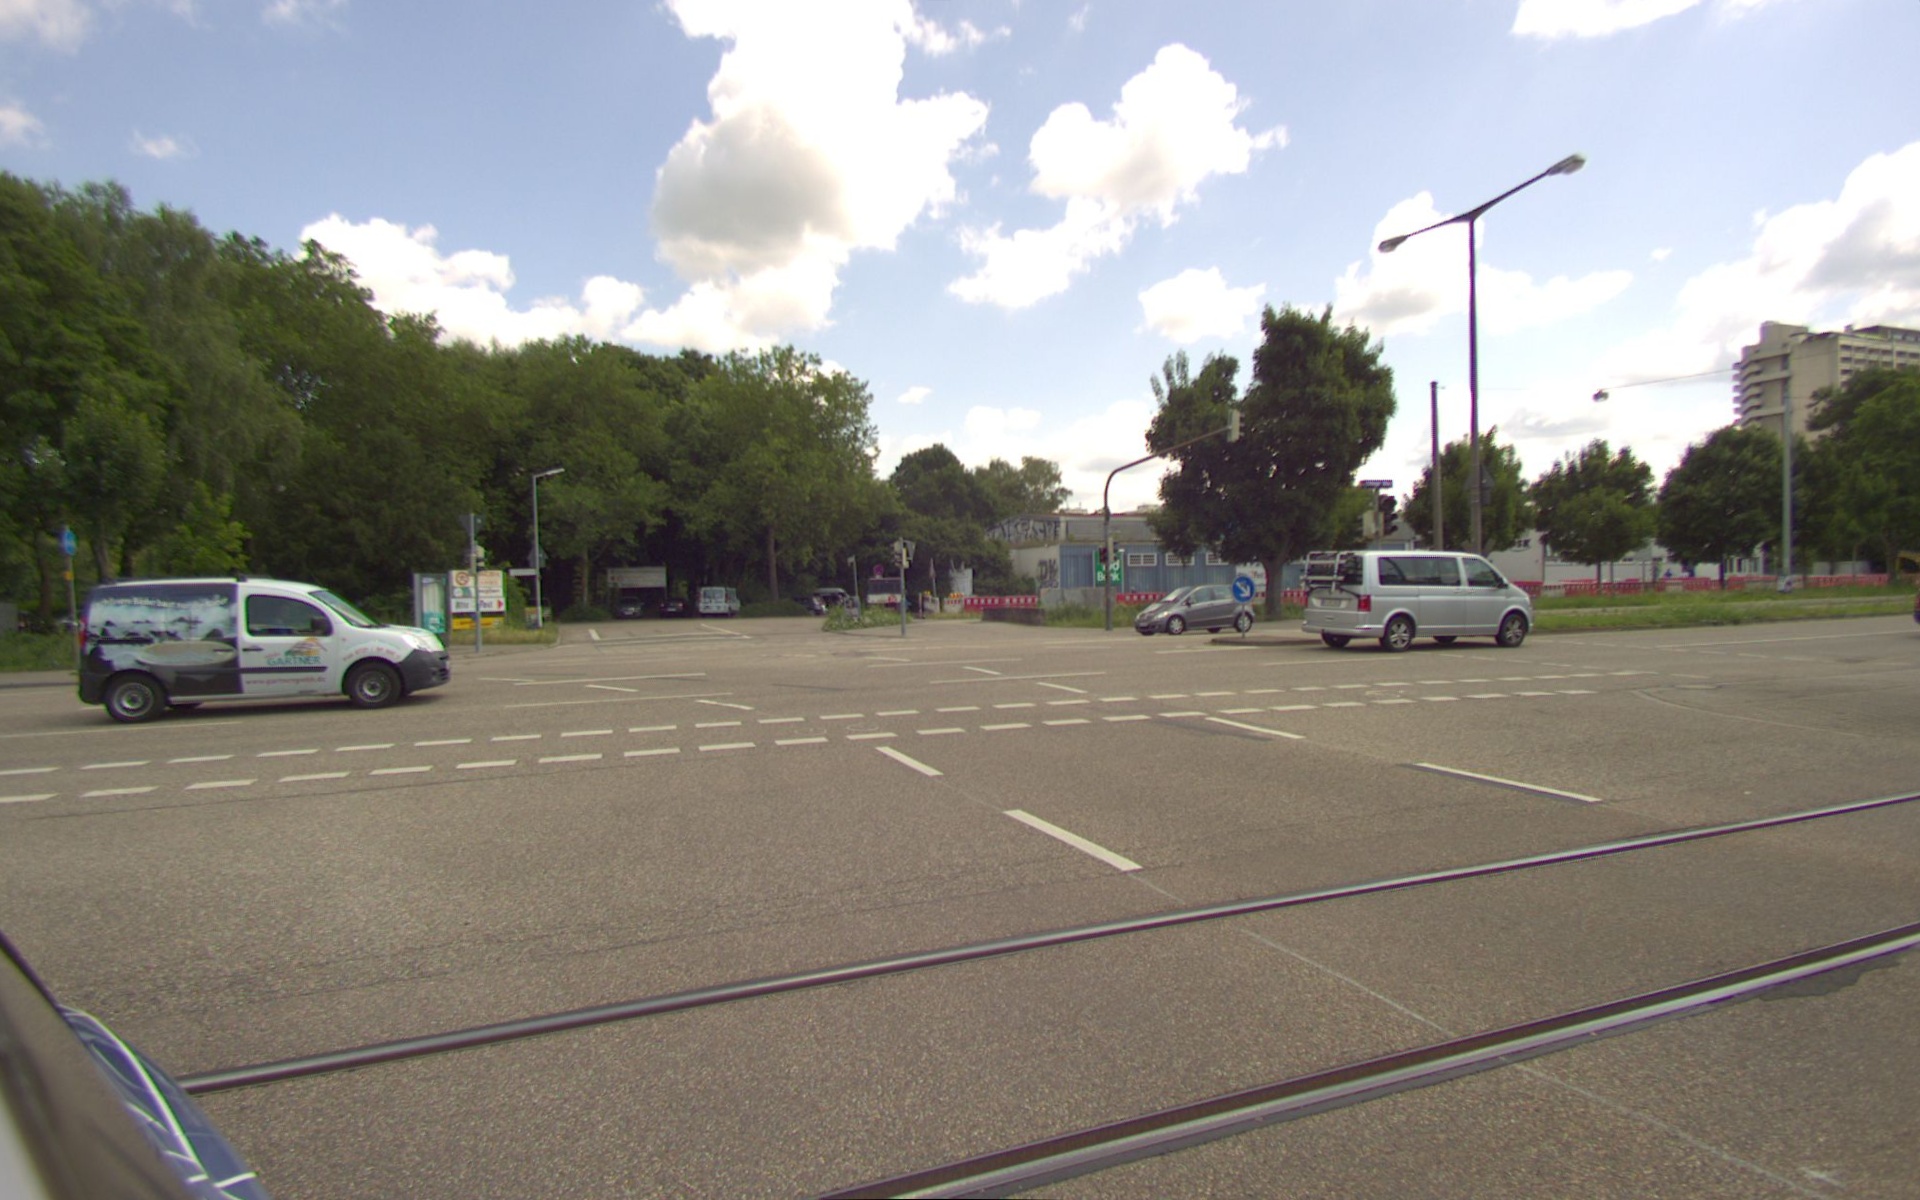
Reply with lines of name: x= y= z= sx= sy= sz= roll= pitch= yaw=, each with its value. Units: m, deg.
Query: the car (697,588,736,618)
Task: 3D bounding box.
car: x=-15.891 y=0.166 z=66.217 sx=1.908 sy=1.806 sz=3.623 roll=-1 pitch=1 yaw=-4

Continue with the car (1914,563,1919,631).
car: x=23.047 y=-0.136 z=21.979 sx=4.356 sy=1.477 sz=1.766 roll=-2 pitch=1 yaw=-23

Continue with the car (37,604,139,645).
car: x=-39.850 y=1.067 z=46.354 sx=1.789 sy=1.722 sz=4.138 roll=-2 pitch=1 yaw=-13

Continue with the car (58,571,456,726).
car: x=-9.284 y=0.557 z=13.795 sx=4.084 sy=1.798 sz=1.754 roll=-2 pitch=1 yaw=-20

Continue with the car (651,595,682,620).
car: x=-19.116 y=0.464 z=65.823 sx=1.592 sy=1.519 sz=3.632 roll=-2 pitch=2 yaw=-20

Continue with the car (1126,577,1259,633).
car: x=7.377 y=0.127 z=32.181 sx=3.707 sy=1.605 sz=1.797 roll=-2 pitch=0 yaw=-20

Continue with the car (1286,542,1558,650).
car: x=9.316 y=-0.120 z=20.419 sx=5.142 sy=1.933 sz=1.825 roll=-2 pitch=0 yaw=-20

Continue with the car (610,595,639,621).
car: x=-21.552 y=0.469 z=64.963 sx=1.592 sy=1.519 sz=3.632 roll=-2 pitch=2 yaw=-20

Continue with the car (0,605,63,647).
car: x=-42.327 y=1.149 z=45.070 sx=1.789 sy=1.740 sz=4.138 roll=-2 pitch=1 yaw=-13
